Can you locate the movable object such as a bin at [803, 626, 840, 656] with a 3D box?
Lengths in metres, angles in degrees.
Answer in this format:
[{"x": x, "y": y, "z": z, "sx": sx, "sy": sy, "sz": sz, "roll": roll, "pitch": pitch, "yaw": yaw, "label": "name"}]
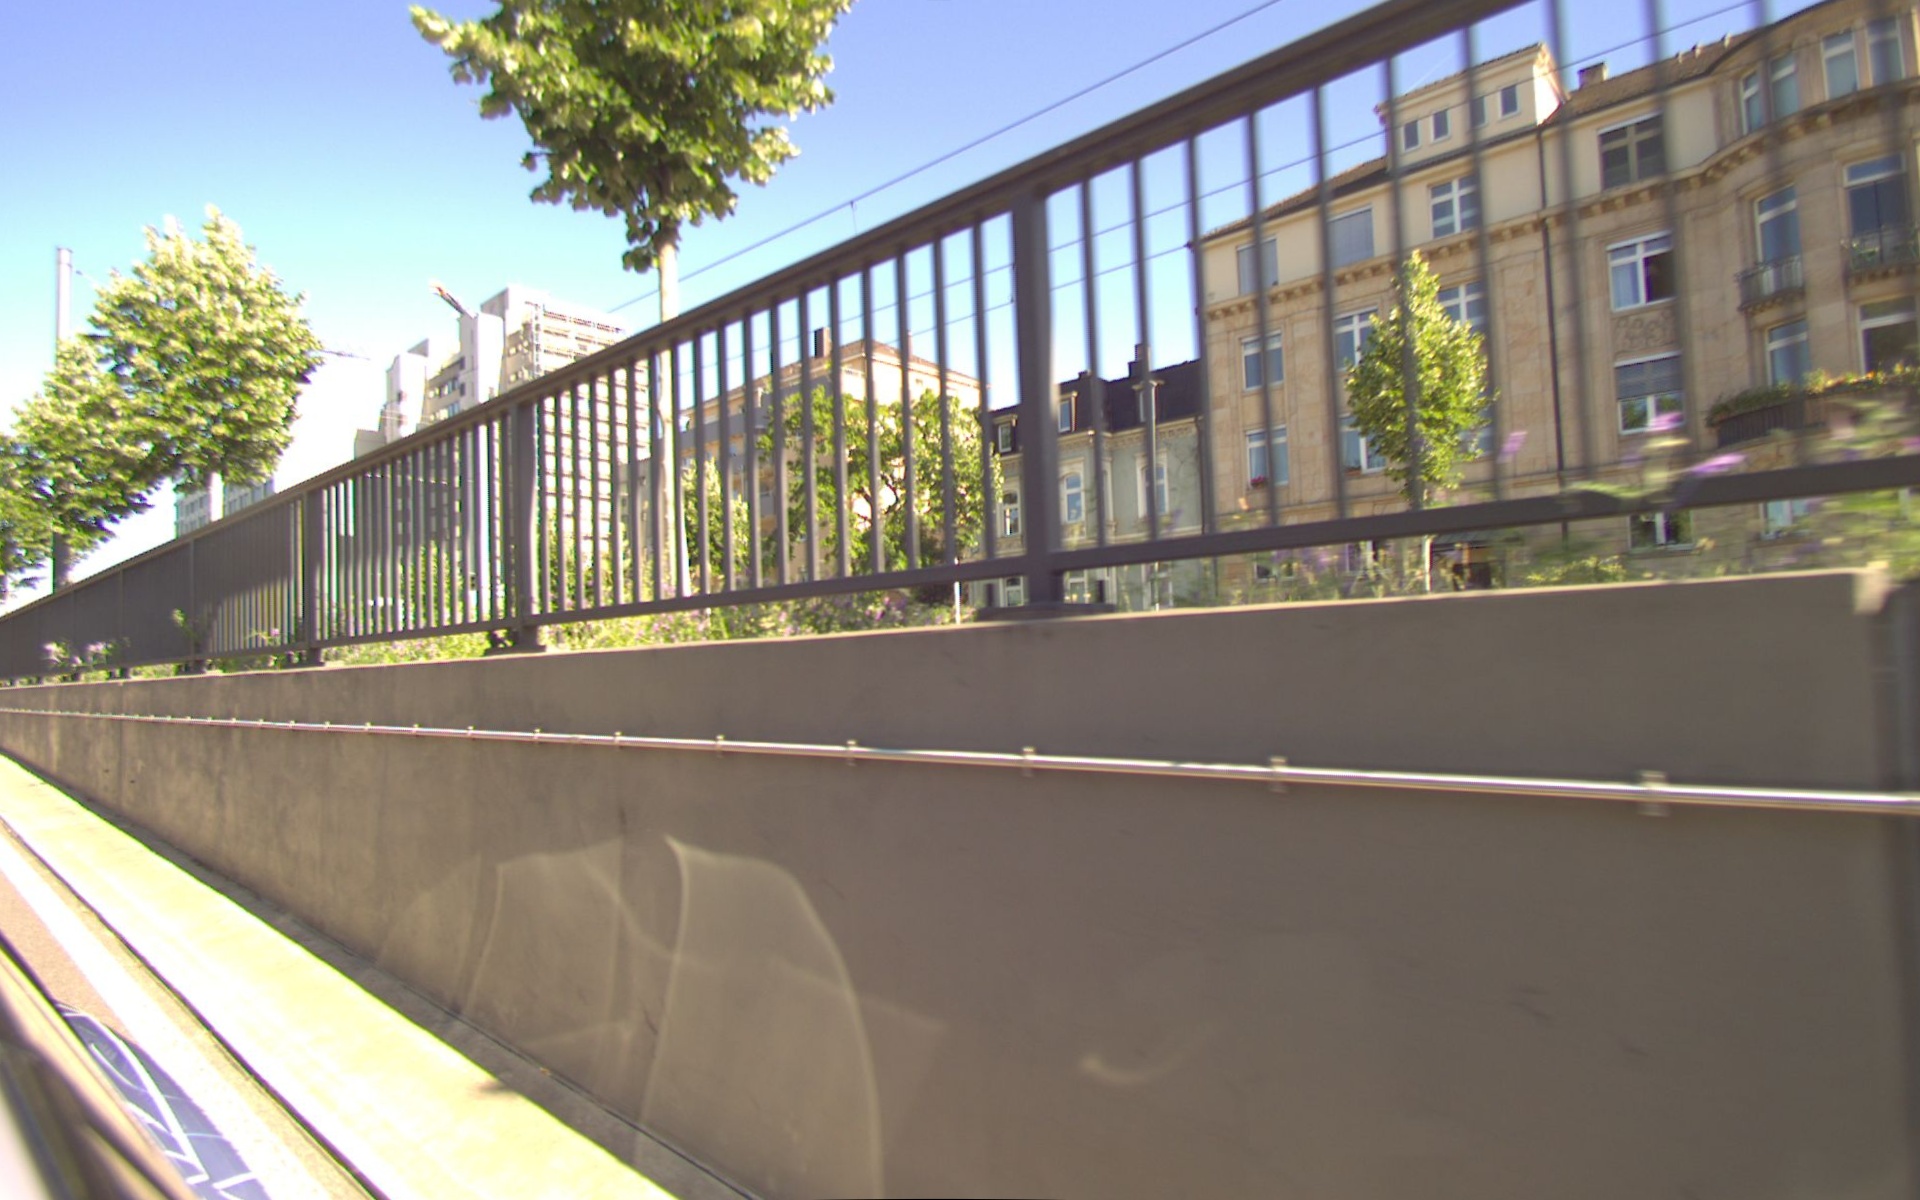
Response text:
[{"x": -6.987, "y": 2.074, "z": 51.030, "sx": 1.327, "sy": 1.410, "sz": 1.249, "roll": -5, "pitch": -2, "yaw": 45, "label": "movable object such as a bin"}]
